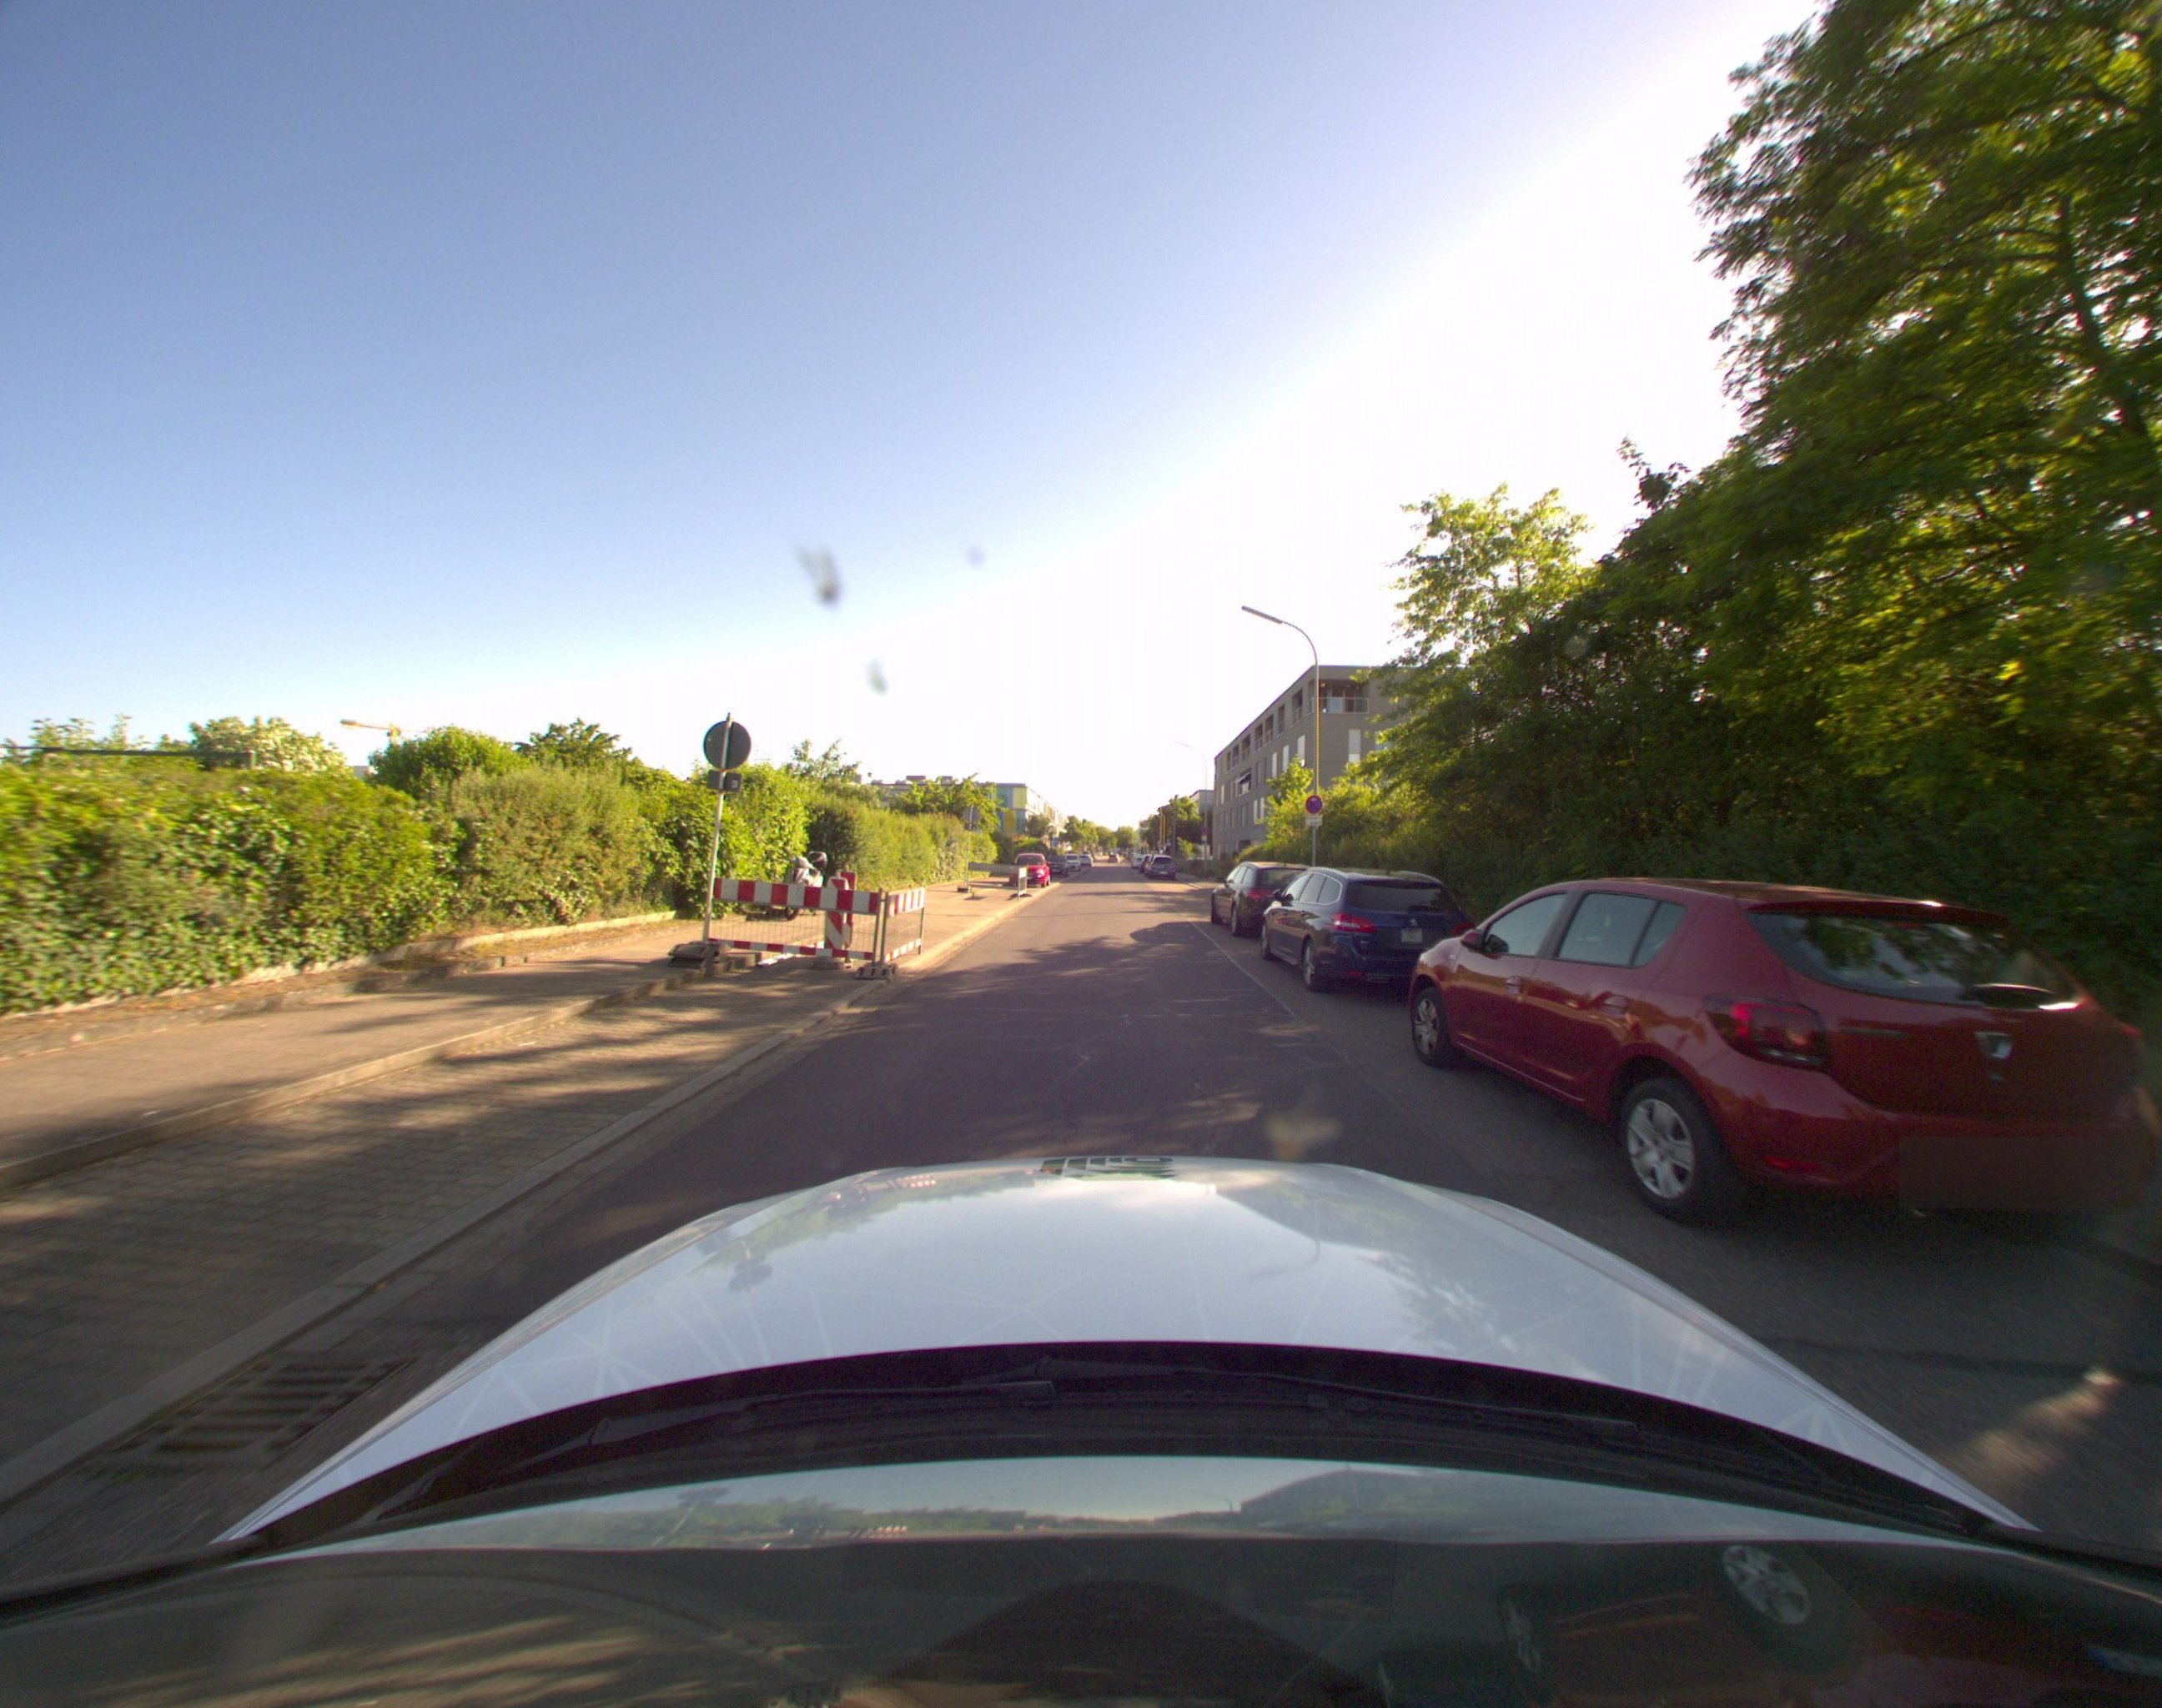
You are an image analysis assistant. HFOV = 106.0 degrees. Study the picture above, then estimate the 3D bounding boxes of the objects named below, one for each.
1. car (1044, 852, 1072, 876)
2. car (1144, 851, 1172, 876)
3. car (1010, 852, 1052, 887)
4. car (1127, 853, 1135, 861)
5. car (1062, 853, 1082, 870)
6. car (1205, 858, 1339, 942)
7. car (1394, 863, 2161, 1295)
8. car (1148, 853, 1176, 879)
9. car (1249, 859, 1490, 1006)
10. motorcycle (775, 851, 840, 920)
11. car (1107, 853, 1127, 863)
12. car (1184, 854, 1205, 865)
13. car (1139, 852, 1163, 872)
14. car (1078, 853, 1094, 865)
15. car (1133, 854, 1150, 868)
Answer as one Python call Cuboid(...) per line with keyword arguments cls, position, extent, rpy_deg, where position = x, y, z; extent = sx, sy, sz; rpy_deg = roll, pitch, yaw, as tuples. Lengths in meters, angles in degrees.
Cuboid(cls="car", position=(-1.530, 0.683, 55.119), extent=(1.554, 1.494, 3.572), rpy_deg=(3, 0, 2))
Cuboid(cls="car", position=(5.474, 0.665, 58.355), extent=(1.670, 1.608, 4.180), rpy_deg=(3, 0, 1))
Cuboid(cls="car", position=(-2.213, 0.650, 36.733), extent=(1.553, 1.495, 3.572), rpy_deg=(0, 0, 2))
Cuboid(cls="car", position=(9.969, 0.633, 163.002), extent=(1.440, 1.549, 3.615), rpy_deg=(2, 0, 1))
Cuboid(cls="car", position=(-0.771, 0.628, 72.035), extent=(1.553, 1.495, 3.760), rpy_deg=(0, 0, 2))
Cuboid(cls="car", position=(3.803, 0.842, 17.034), extent=(1.747, 1.413, 4.657), rpy_deg=(3, 0, 1))
Cuboid(cls="car", position=(3.448, 0.857, 4.947), extent=(1.649, 1.486, 3.840), rpy_deg=(3, 0, 1))
Cuboid(cls="car", position=(5.238, 0.769, 52.899), extent=(1.616, 1.526, 3.905), rpy_deg=(3, 0, 3))
Cuboid(cls="car", position=(3.515, 0.839, 10.903), extent=(1.649, 1.444, 4.658), rpy_deg=(3, 0, 2))
Cuboid(cls="motorcycle", position=(-5.328, 0.587, 15.992), extent=(0.565, 1.268, 2.089), rpy_deg=(2, -1, -2))
Cuboid(cls="car", position=(5.623, 0.645, 127.402), extent=(1.673, 1.549, 3.636), rpy_deg=(2, 0, 29))
Cuboid(cls="car", position=(18.294, 0.900, 130.996), extent=(3.201, 1.549, 1.452), rpy_deg=(2, 0, 5))
Cuboid(cls="car", position=(5.867, 0.641, 68.456), extent=(1.735, 1.625, 4.181), rpy_deg=(2, 0, 2))
Cuboid(cls="car", position=(0.686, 0.612, 101.481), extent=(1.847, 1.428, 4.136), rpy_deg=(2, 0, 2))
Cuboid(cls="car", position=(6.801, 0.785, 92.390), extent=(1.735, 1.428, 4.136), rpy_deg=(2, 0, 2))
